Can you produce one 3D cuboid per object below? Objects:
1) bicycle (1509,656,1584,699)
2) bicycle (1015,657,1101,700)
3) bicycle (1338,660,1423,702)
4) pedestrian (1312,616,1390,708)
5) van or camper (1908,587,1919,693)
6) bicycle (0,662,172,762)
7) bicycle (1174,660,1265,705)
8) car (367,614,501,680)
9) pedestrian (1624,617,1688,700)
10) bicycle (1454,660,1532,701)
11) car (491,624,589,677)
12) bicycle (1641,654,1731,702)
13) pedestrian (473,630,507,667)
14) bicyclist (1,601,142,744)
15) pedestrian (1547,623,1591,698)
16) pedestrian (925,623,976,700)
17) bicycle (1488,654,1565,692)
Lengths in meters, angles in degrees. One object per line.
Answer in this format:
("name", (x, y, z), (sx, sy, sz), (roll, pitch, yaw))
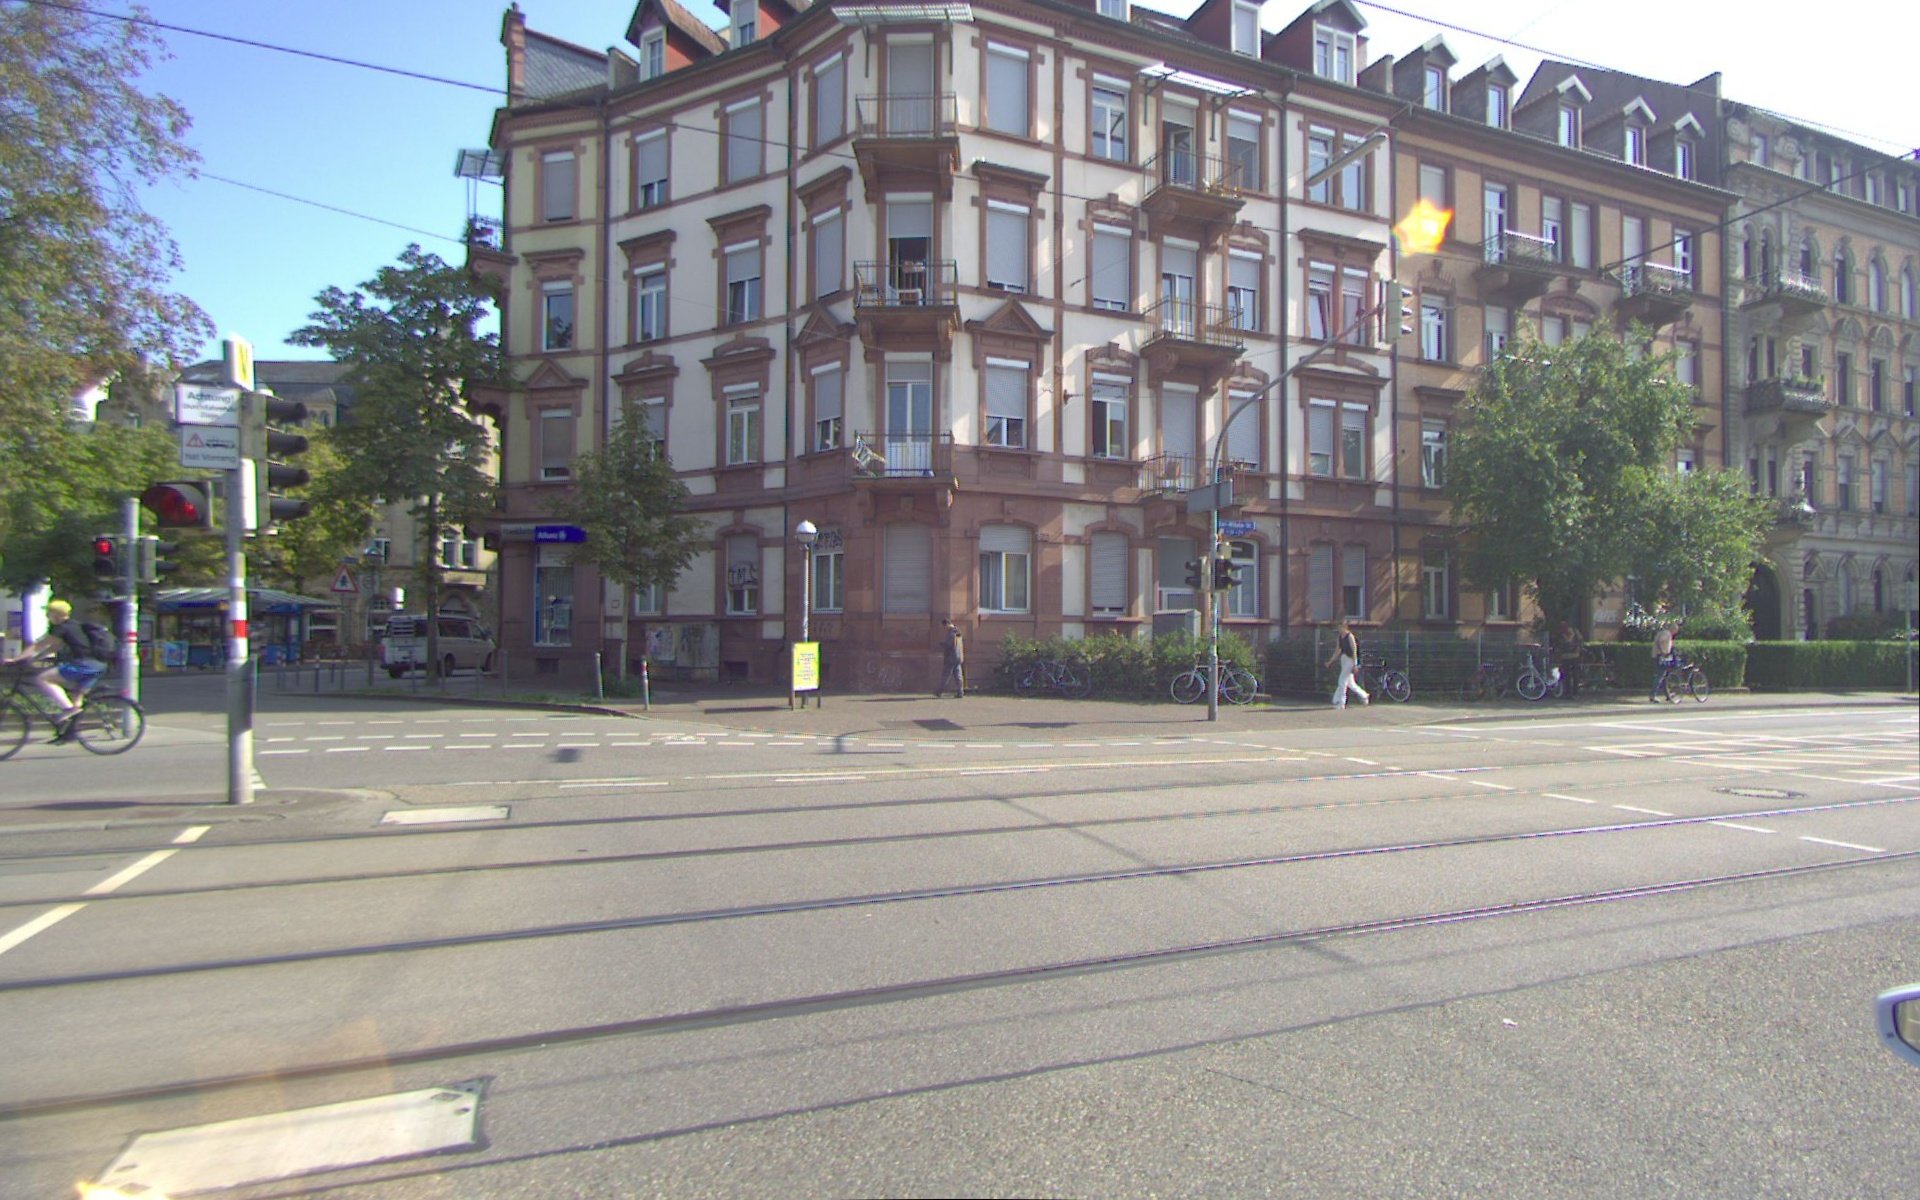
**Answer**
("bicycle", (13.396, 1.768, 22.953), (1.676, 0.939, 0.526), (1, -2, -20))
("bicycle", (2.115, 1.689, 21.687), (1.791, 0.871, 0.528), (0, -2, 16))
("bicycle", (9.052, 1.727, 21.602), (1.800, 0.871, 0.526), (1, -2, -20))
("pedestrian", (7.852, 1.237, 20.205), (1.167, 1.789, 0.904), (1, -2, -19))
("van or camper", (27.245, 1.052, 25.336), (5.989, 2.679, 2.051), (2, -3, -16))
("bicycle", (-10.734, 1.302, 11.906), (2.038, 1.118, 0.683), (1, -2, -21))
("bicycle", (5.397, 1.707, 20.906), (1.791, 0.871, 0.528), (0, -2, 16))
("car", (-17.692, 1.579, 34.056), (2.039, 2.043, 4.594), (0, -2, 1))
("pedestrian", (15.737, 1.308, 22.723), (1.078, 1.830, 0.726), (1, -2, -24))
("bicycle", (11.848, 1.779, 22.329), (1.676, 0.871, 0.526), (1, -2, -20))
("car", (-17.322, 2.067, 41.681), (2.039, 2.043, 4.594), (0, -2, 1))
("bicycle", (16.176, 1.726, 22.370), (2.120, 1.020, 0.617), (1, -2, -23))
("pedestrian", (-20.666, 2.128, 44.229), (0.978, 1.574, 1.114), (1, -1, -3))
("bicyclist", (-10.564, 0.851, 11.984), (1.028, 1.635, 0.672), (1, -2, -20))
("pedestrian", (13.960, 1.377, 23.022), (0.627, 1.700, 0.633), (2, -2, -34))
("pedestrian", (-0.192, 1.294, 21.397), (0.926, 1.591, 0.843), (0, -2, 11))
("bicycle", (13.824, 1.772, 24.563), (0.520, 0.871, 1.694), (1, -2, -21))
